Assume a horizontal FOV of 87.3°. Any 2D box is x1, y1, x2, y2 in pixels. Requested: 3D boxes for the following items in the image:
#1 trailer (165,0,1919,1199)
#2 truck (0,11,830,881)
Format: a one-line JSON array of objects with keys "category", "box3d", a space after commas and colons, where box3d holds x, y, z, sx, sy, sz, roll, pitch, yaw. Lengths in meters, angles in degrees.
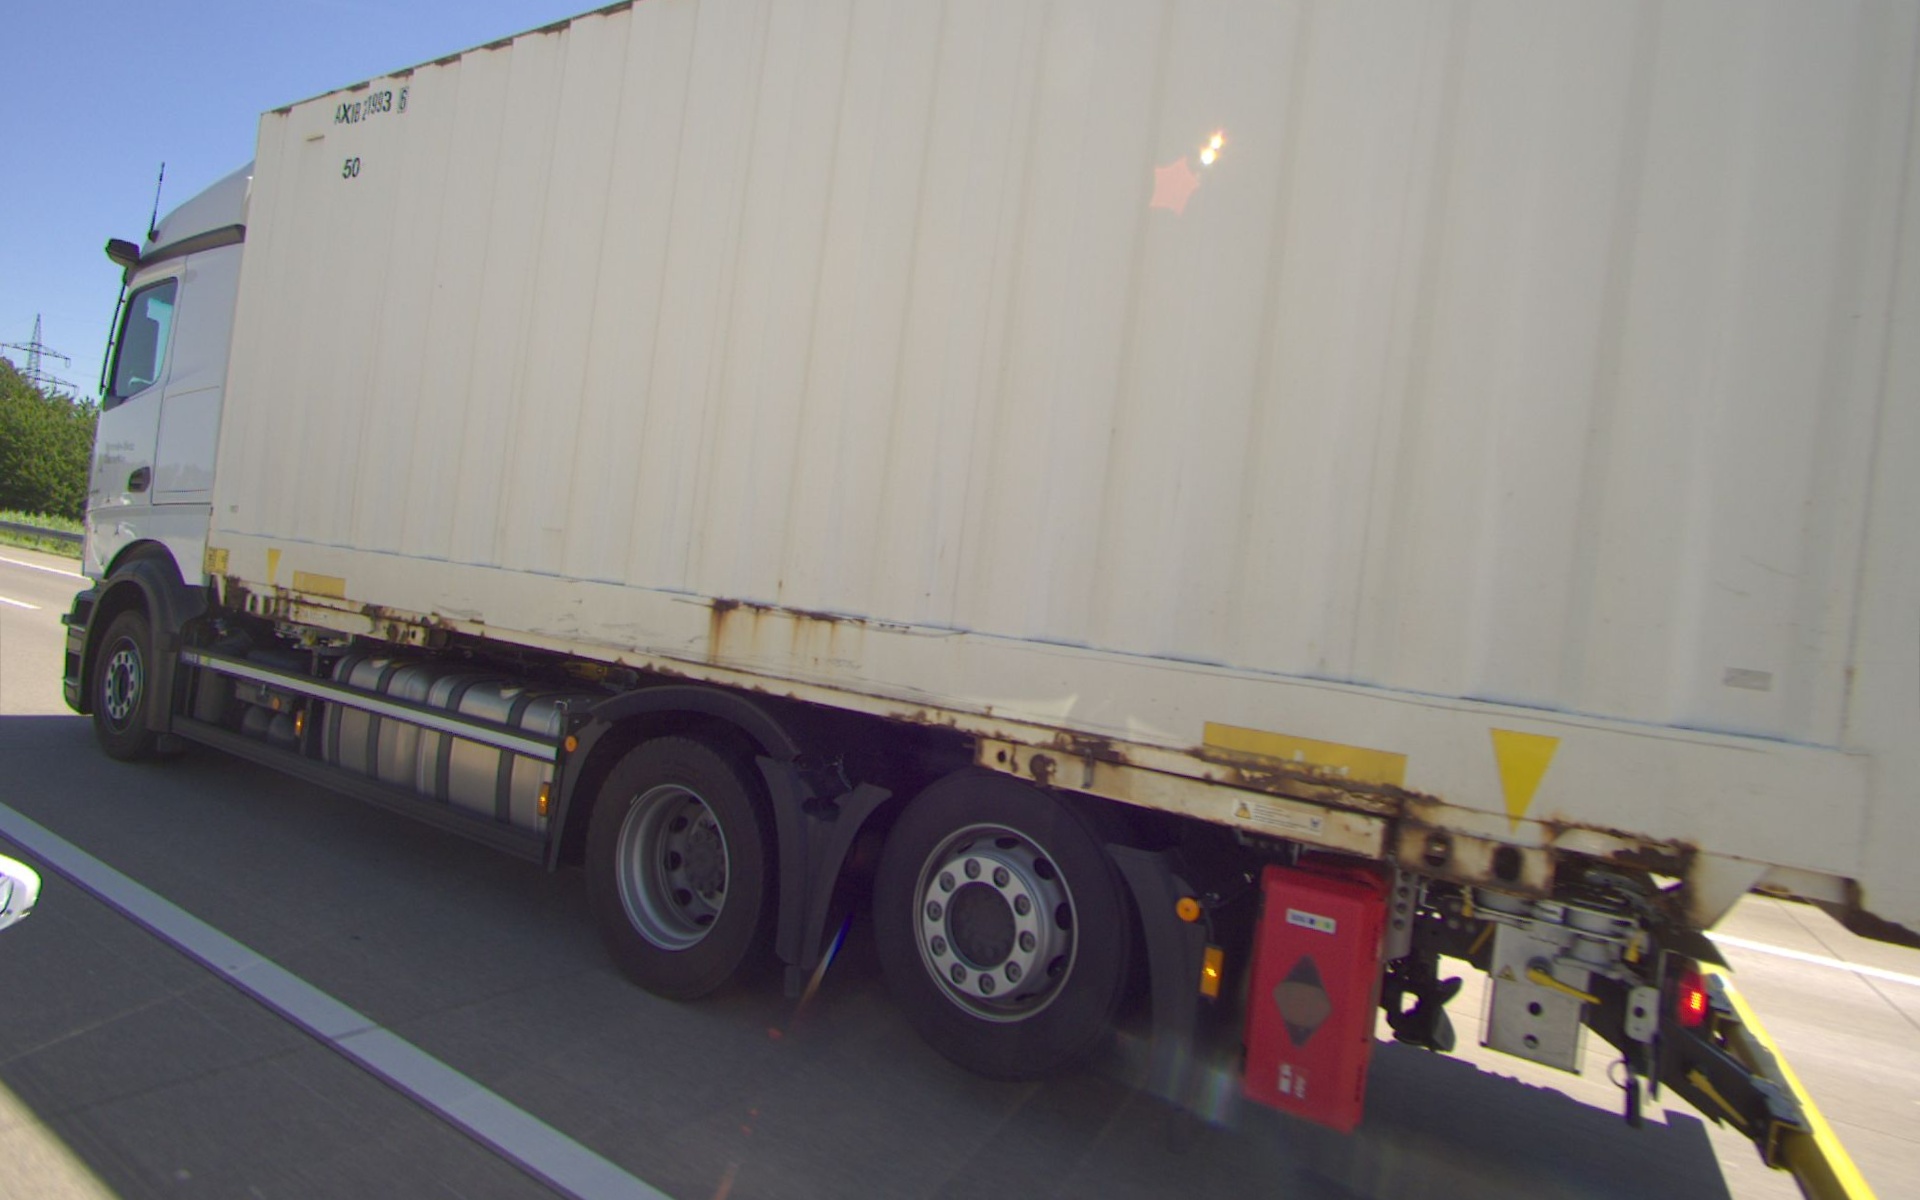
[{"category": "trailer", "box3d": [0.857, -0.267, 4.050, 10.199, 3.923, 2.586, 7, -1, 31]}, {"category": "truck", "box3d": [-3.847, -0.808, 6.868, 4.900, 3.923, 2.586, 7, -1, 31]}]
